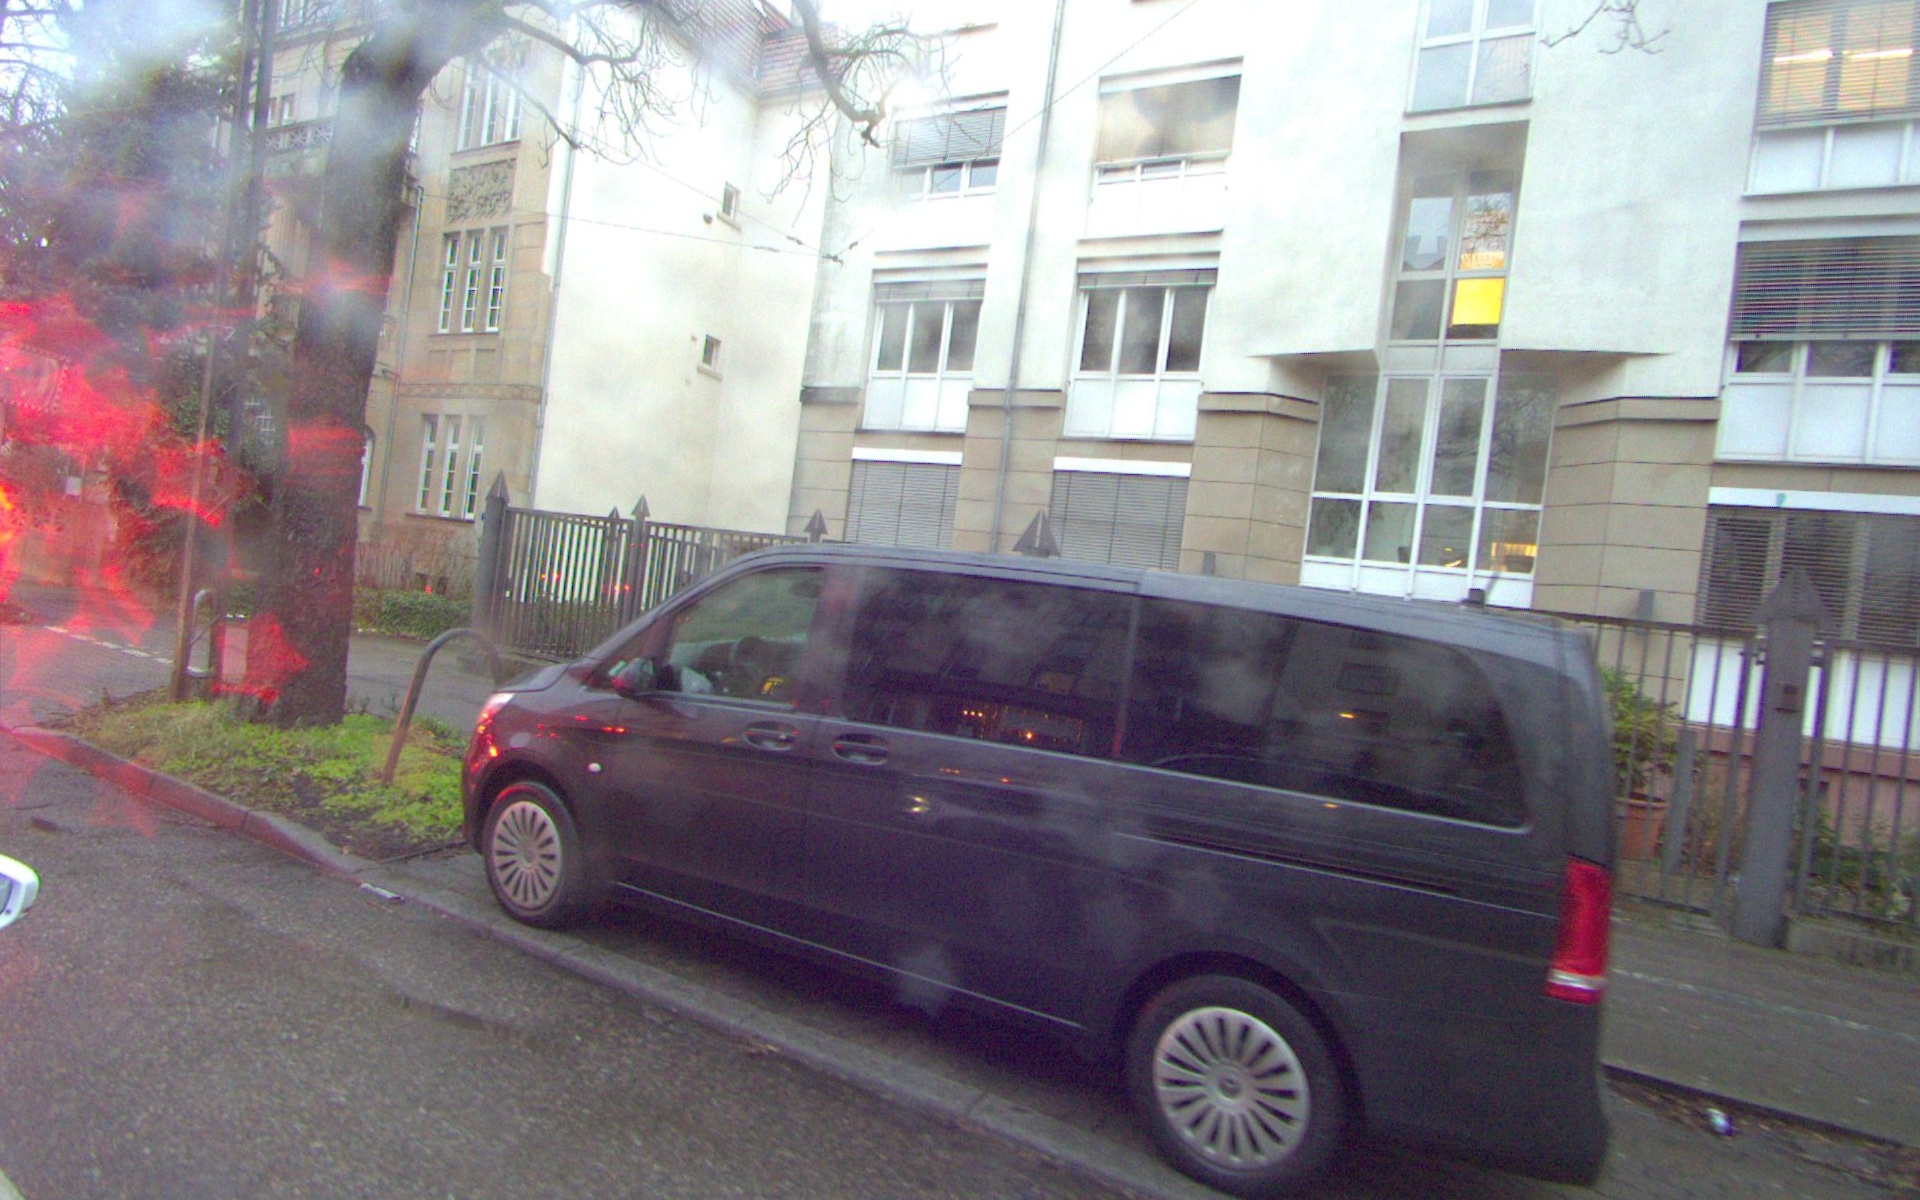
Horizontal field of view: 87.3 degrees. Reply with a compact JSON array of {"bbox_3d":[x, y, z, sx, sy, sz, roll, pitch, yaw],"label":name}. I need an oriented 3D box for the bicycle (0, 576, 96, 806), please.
[{"bbox_3d":[-5.743,0.370,5.451,1.906,1.123,0.720,7,-4,24],"label":"bicycle"}]

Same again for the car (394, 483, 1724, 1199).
[{"bbox_3d":[0.044,0.727,4.467,4.877,1.899,2.034,7,0,28],"label":"car"}]

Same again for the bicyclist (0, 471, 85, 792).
[{"bbox_3d":[-5.571,0.102,5.405,1.037,1.679,0.720,7,-3,24],"label":"bicyclist"}]
